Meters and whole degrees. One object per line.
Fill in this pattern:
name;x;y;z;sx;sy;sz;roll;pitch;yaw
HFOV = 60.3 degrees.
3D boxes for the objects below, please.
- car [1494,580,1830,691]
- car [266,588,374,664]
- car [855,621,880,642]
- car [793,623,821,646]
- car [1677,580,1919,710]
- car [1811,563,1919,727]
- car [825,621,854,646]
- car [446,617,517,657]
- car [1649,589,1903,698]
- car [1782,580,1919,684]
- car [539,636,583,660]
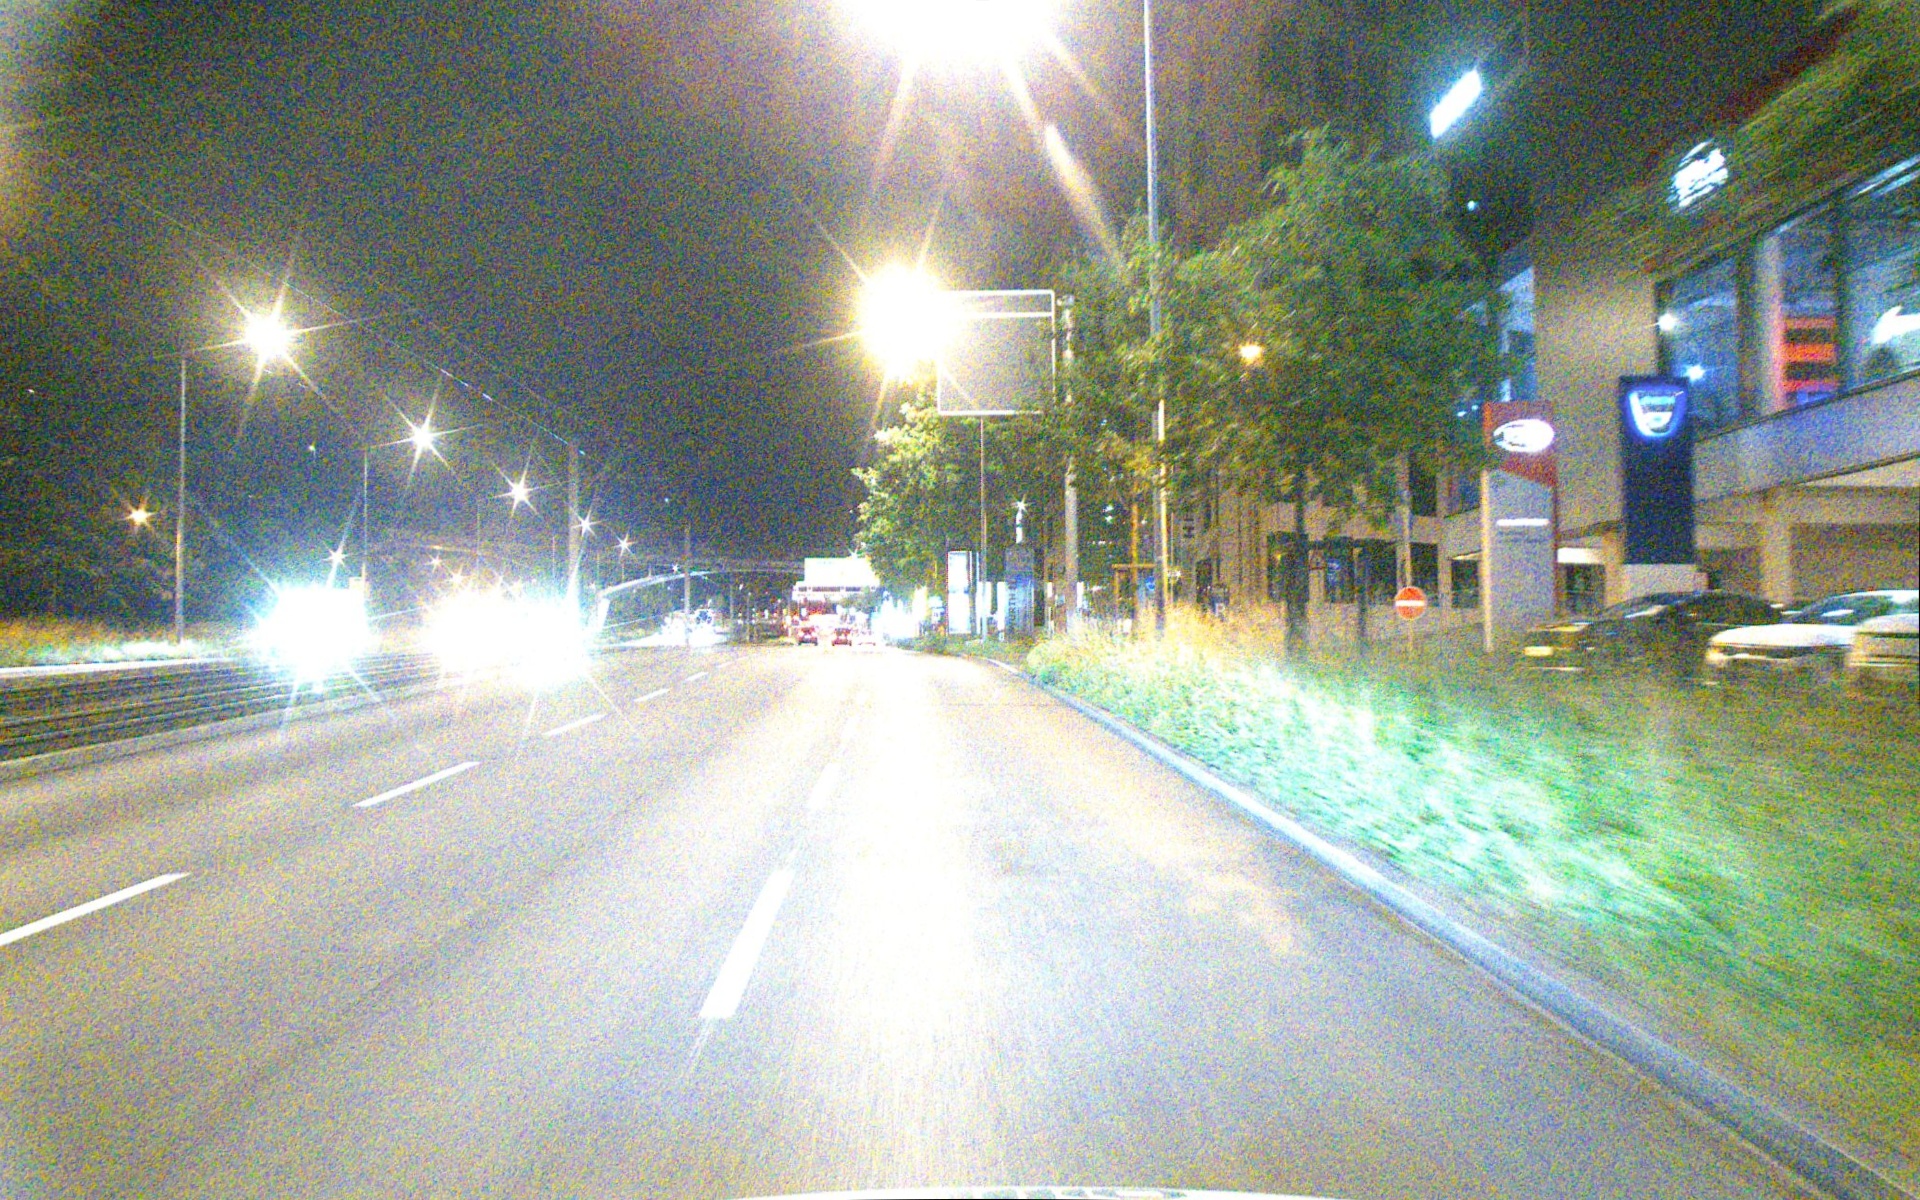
car;9.766;0.501;23.099;4.052;1.445;1.870;1;-1;-15
car;-25.194;1.032;65.415;2.104;2.718;6.953;-3;-1;-6
car;-9.606;3.257;171.548;2.378;2.150;4.824;0;-1;-1
car;-13.966;3.110;151.111;2.217;2.049;4.824;0;-1;-1
car;10.309;0.427;18.248;4.572;1.286;1.932;0;1;-26
car;10.274;0.388;15.527;3.926;1.448;1.899;0;0;-19
car;-10.681;2.946;146.773;2.308;2.166;4.824;0;-1;-1
car;-18.735;1.423;64.939;1.587;1.465;4.336;-2;-1;-2
car;16.501;0.854;33.850;1.955;2.049;5.620;0;-1;-6
car;19.302;0.655;34.454;1.777;2.029;4.402;0;-1;-7
car;-25.295;3.018;104.944;1.829;1.454;4.953;1;-1;-4
